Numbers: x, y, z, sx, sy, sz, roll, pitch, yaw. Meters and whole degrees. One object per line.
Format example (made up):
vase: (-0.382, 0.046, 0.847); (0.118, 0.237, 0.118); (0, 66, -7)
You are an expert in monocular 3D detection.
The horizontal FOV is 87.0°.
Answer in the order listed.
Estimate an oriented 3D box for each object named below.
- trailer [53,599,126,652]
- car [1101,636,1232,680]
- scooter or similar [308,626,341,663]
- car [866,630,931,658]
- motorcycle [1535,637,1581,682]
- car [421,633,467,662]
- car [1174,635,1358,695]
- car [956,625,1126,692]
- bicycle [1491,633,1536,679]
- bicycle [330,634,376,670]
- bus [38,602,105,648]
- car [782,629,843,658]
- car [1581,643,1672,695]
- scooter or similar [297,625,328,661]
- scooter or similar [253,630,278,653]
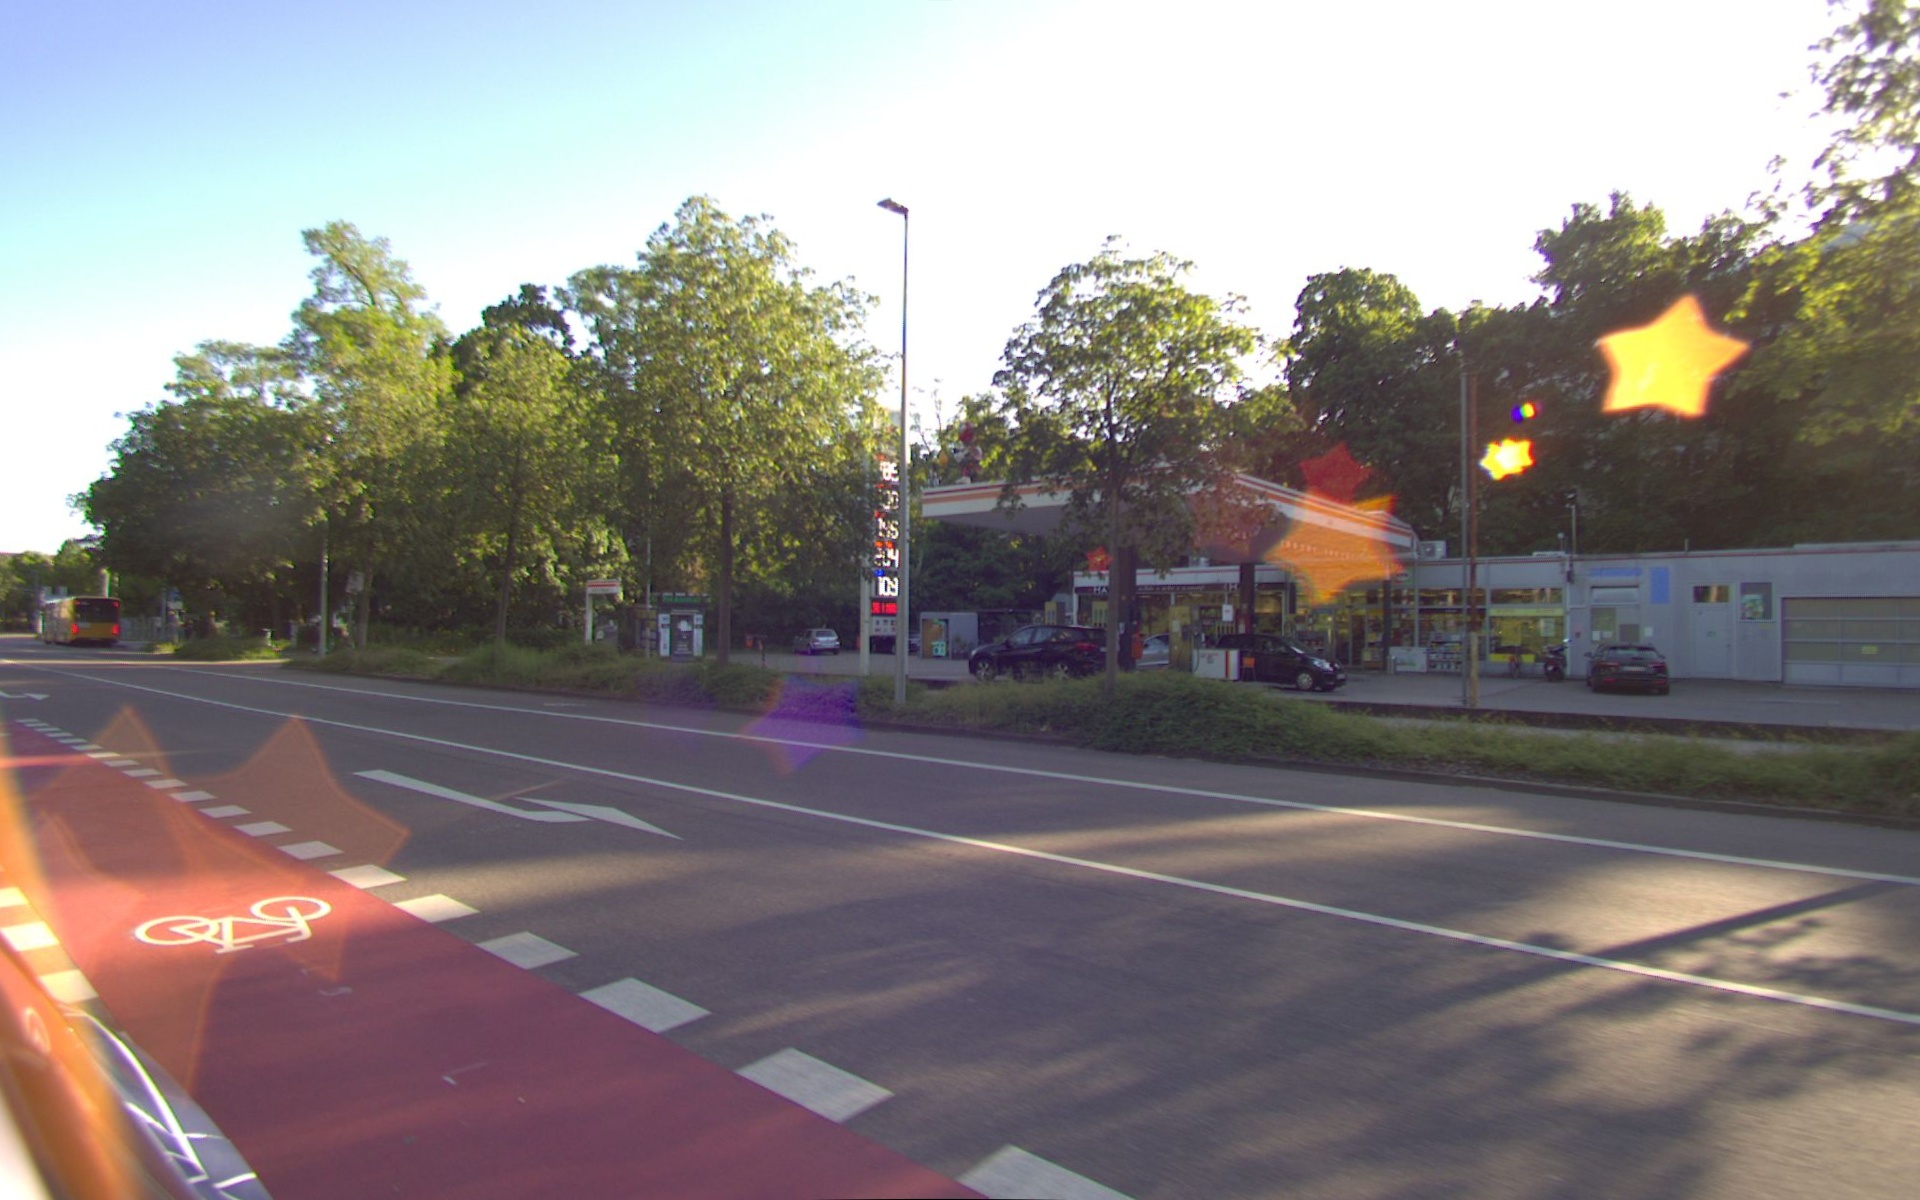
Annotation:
trailer: (-59.538, 1.669, 69.118); (9.363, 3.381, 2.823); (-1, -1, 44)
car: (6.972, 1.922, 34.357); (4.057, 1.386, 1.693); (-1, -3, 40)
scooter or similar: (-30.391, 2.098, 48.385); (1.740, 1.730, 0.819); (-2, -3, 42)
car: (-3.605, 2.540, 58.938); (1.967, 1.548, 3.922); (2, -2, -36)
motorcycle: (19.154, 1.885, 32.399); (0.927, 1.374, 1.817); (-1, -3, 42)
car: (-26.909, 2.473, 52.852); (1.536, 1.411, 3.501); (3, -3, -17)
car: (8.316, 1.729, 27.780); (4.574, 1.509, 1.693); (-1, -3, 40)
car: (2.165, 1.556, 27.742); (4.446, 1.704, 1.695); (-1, -3, 37)
bicycle: (18.608, 1.855, 33.991); (0.927, 1.488, 1.817); (-1, -3, 42)
bicycle: (-22.116, 1.885, 36.850); (2.155, 1.259, 0.648); (-1, -3, 36)
bus: (-66.115, 1.861, 75.257); (8.599, 3.221, 2.809); (-1, -3, 43)
car: (-8.254, 2.405, 56.330); (1.966, 1.548, 4.033); (2, -2, -30)
car: (18.957, 1.919, 28.932); (1.707, 1.364, 3.601); (-1, -2, 26)
scooter or similar: (-31.808, 2.122, 49.715); (1.740, 1.730, 0.819); (-2, -3, 42)
scooter or similar: (-41.408, 2.468, 60.345); (1.570, 1.320, 0.819); (-2, -3, 42)
